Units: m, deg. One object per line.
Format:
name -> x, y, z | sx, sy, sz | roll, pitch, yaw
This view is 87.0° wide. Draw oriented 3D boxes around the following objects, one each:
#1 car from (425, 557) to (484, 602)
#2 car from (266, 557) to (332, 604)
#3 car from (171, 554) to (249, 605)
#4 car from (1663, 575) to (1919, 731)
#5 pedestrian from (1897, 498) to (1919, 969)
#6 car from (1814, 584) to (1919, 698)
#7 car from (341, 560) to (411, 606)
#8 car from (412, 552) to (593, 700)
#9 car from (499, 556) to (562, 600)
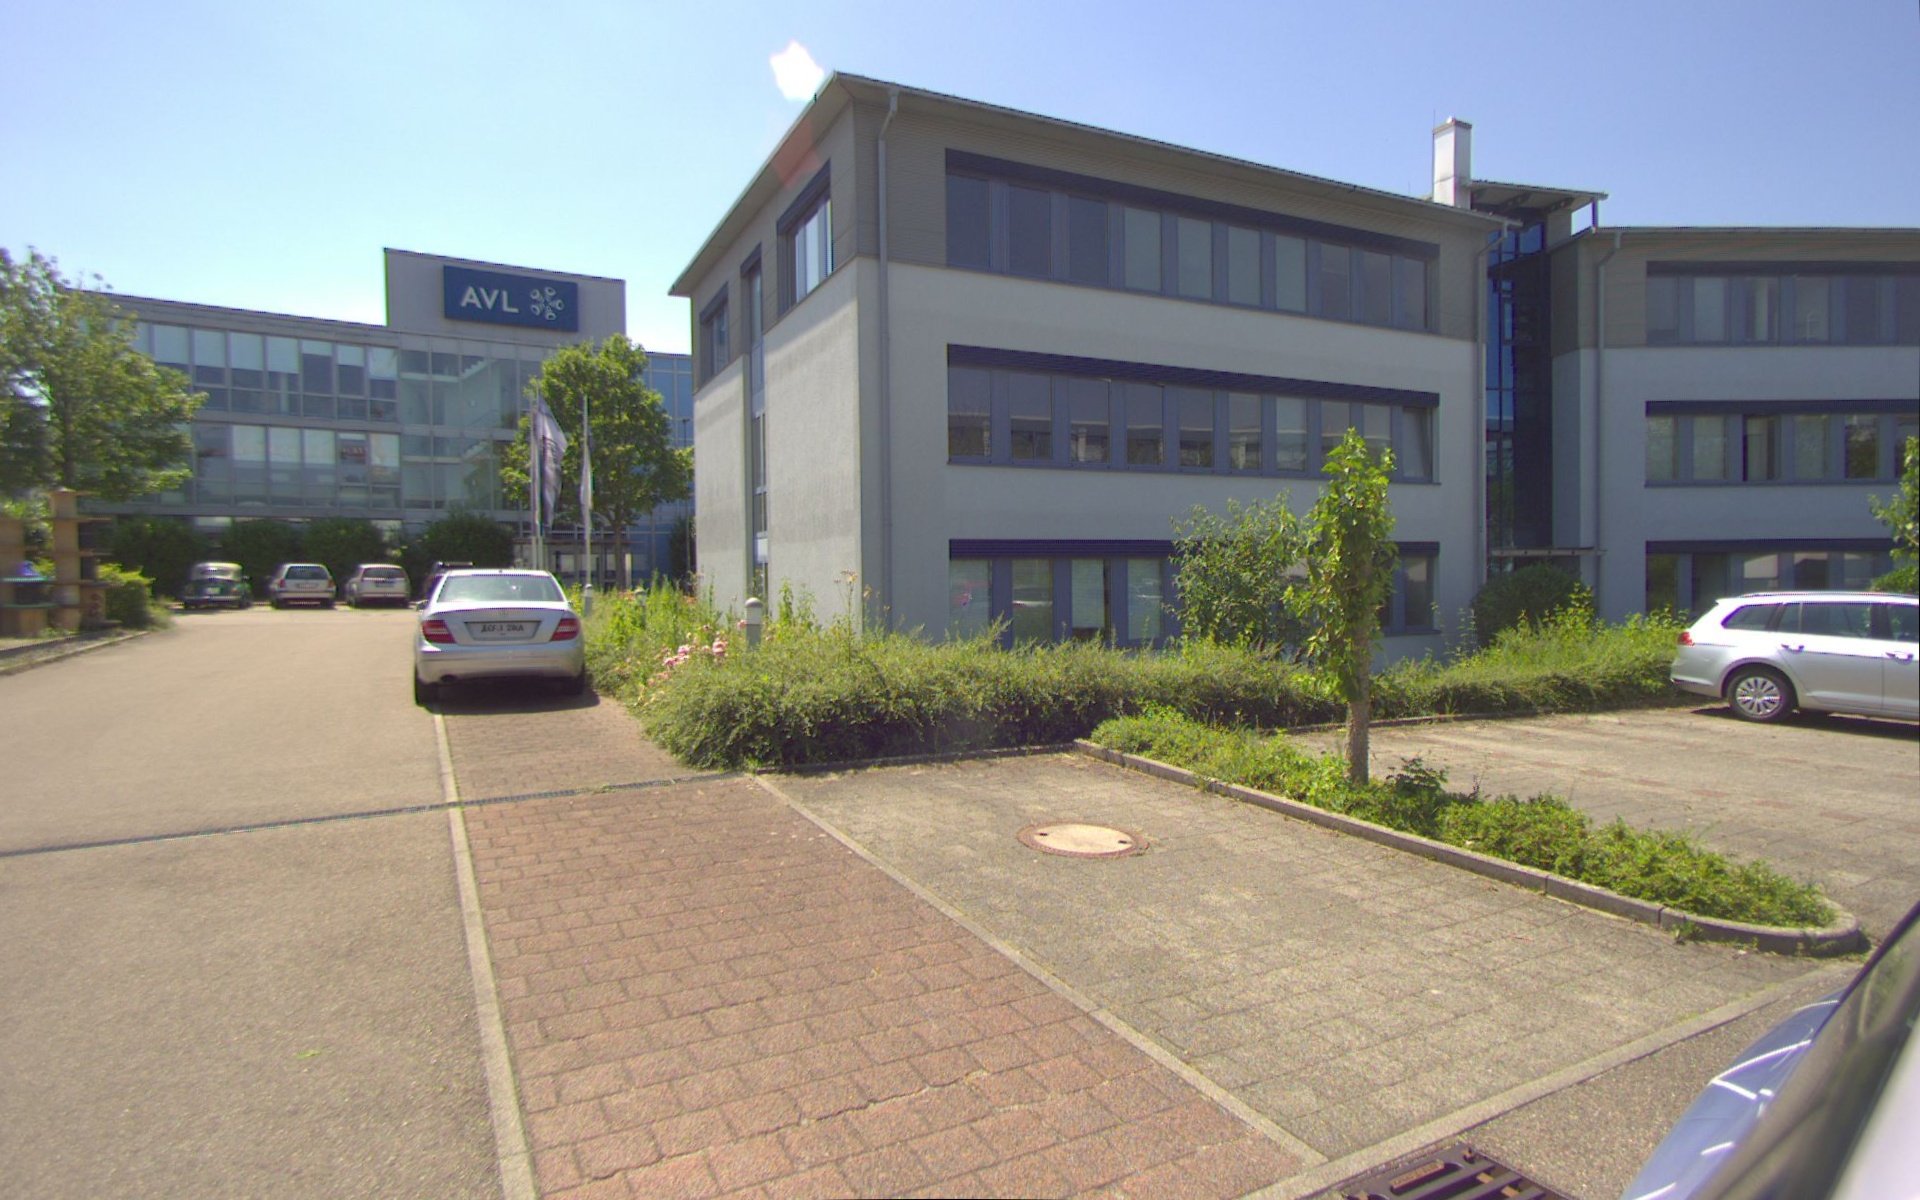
car -> -18.358, -0.729, 36.681 | 1.714, 1.538, 4.005 | 0, 1, -29
car -> -22.255, -0.652, 34.025 | 1.643, 1.458, 3.999 | 0, 1, -36
car -> -24.171, -0.654, 32.724 | 1.715, 1.538, 4.003 | 0, 1, -32
car -> 10.331, 0.540, 10.592 | 1.793, 1.515, 4.526 | 0, 2, -30
pedestrian -> 4.078, 0.506, 3.767 | 0.772, 1.779, 0.620 | 0, 0, -26
car -> 13.301, 0.568, 12.524 | 1.619, 1.408, 3.832 | 0, 2, -30
car -> -20.613, -0.603, 35.630 | 1.717, 1.538, 3.999 | 0, 1, -36
car -> -5.546, 0.222, 12.047 | 1.695, 1.454, 3.722 | 0, 1, -28
car -> -16.012, -0.812, 37.651 | 1.714, 1.538, 4.005 | 0, 1, -29
